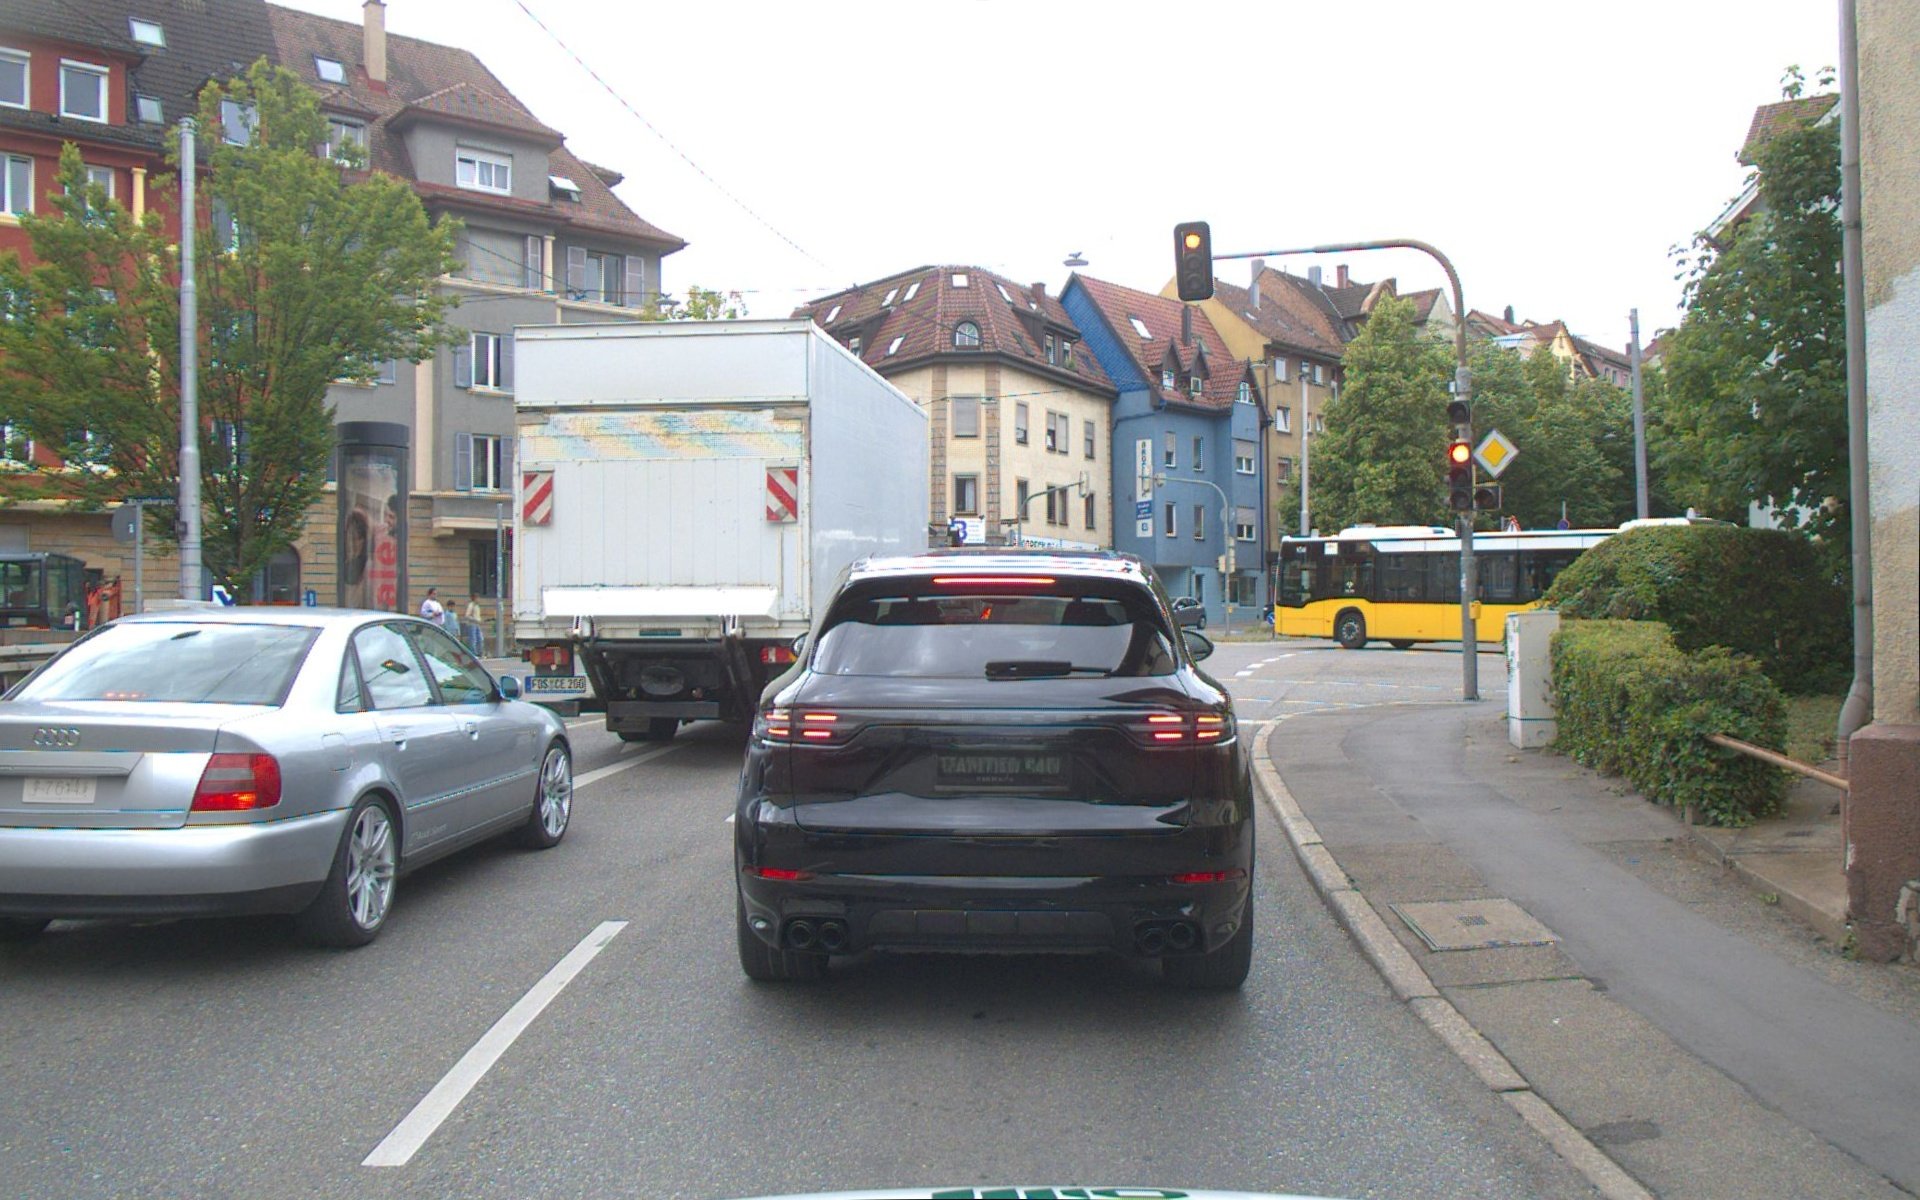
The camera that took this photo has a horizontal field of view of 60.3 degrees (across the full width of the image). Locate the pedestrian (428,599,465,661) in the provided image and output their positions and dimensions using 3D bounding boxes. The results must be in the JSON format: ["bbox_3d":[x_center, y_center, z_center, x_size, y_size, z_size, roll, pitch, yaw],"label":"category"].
[{"bbox_3d":[-11.441,0.658,36.846,0.566,1.361,0.581,-1,0,42],"label":"pedestrian"}]

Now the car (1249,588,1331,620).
[{"bbox_3d":[15.701,0.221,78.539,1.841,1.441,4.673,0,-1,40],"label":"car"}]

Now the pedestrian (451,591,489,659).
[{"bbox_3d":[-11.055,0.557,37.330,0.648,1.513,0.515,-1,0,-43],"label":"pedestrian"}]

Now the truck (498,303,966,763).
[{"bbox_3d":[-1.821,-0.535,17.321,2.667,3.606,8.428,0,0,8],"label":"truck"}]

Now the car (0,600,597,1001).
[{"bbox_3d":[-3.114,0.719,7.948,1.594,1.389,4.130,-1,0,3],"label":"car"}]

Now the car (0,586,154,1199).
[{"bbox_3d":[-2.711,0.725,1.171,1.953,1.454,4.841,-1,0,-1],"label":"car"}]

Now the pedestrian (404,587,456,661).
[{"bbox_3d":[-11.562,0.516,36.076,0.777,1.573,0.738,-1,0,26],"label":"pedestrian"}]

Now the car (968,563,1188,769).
[{"bbox_3d":[1.165,0.524,14.779,1.613,1.583,3.586,1,0,9],"label":"car"}]

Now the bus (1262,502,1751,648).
[{"bbox_3d":[13.167,-0.455,41.525,3.134,3.150,11.987,-1,-1,-37],"label":"bus"}]

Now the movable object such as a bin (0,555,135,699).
[{"bbox_3d":[-13.949,0.384,25.473,1.351,2.049,3.525,-1,0,-12],"label":"movable object such as a bin"}]

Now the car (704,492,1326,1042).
[{"bbox_3d":[0.151,0.535,7.615,1.990,1.753,4.499,1,0,-1],"label":"car"}]

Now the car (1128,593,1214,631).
[{"bbox_3d":[9.120,0.547,71.262,1.690,1.502,4.197,0,-2,39],"label":"car"}]
